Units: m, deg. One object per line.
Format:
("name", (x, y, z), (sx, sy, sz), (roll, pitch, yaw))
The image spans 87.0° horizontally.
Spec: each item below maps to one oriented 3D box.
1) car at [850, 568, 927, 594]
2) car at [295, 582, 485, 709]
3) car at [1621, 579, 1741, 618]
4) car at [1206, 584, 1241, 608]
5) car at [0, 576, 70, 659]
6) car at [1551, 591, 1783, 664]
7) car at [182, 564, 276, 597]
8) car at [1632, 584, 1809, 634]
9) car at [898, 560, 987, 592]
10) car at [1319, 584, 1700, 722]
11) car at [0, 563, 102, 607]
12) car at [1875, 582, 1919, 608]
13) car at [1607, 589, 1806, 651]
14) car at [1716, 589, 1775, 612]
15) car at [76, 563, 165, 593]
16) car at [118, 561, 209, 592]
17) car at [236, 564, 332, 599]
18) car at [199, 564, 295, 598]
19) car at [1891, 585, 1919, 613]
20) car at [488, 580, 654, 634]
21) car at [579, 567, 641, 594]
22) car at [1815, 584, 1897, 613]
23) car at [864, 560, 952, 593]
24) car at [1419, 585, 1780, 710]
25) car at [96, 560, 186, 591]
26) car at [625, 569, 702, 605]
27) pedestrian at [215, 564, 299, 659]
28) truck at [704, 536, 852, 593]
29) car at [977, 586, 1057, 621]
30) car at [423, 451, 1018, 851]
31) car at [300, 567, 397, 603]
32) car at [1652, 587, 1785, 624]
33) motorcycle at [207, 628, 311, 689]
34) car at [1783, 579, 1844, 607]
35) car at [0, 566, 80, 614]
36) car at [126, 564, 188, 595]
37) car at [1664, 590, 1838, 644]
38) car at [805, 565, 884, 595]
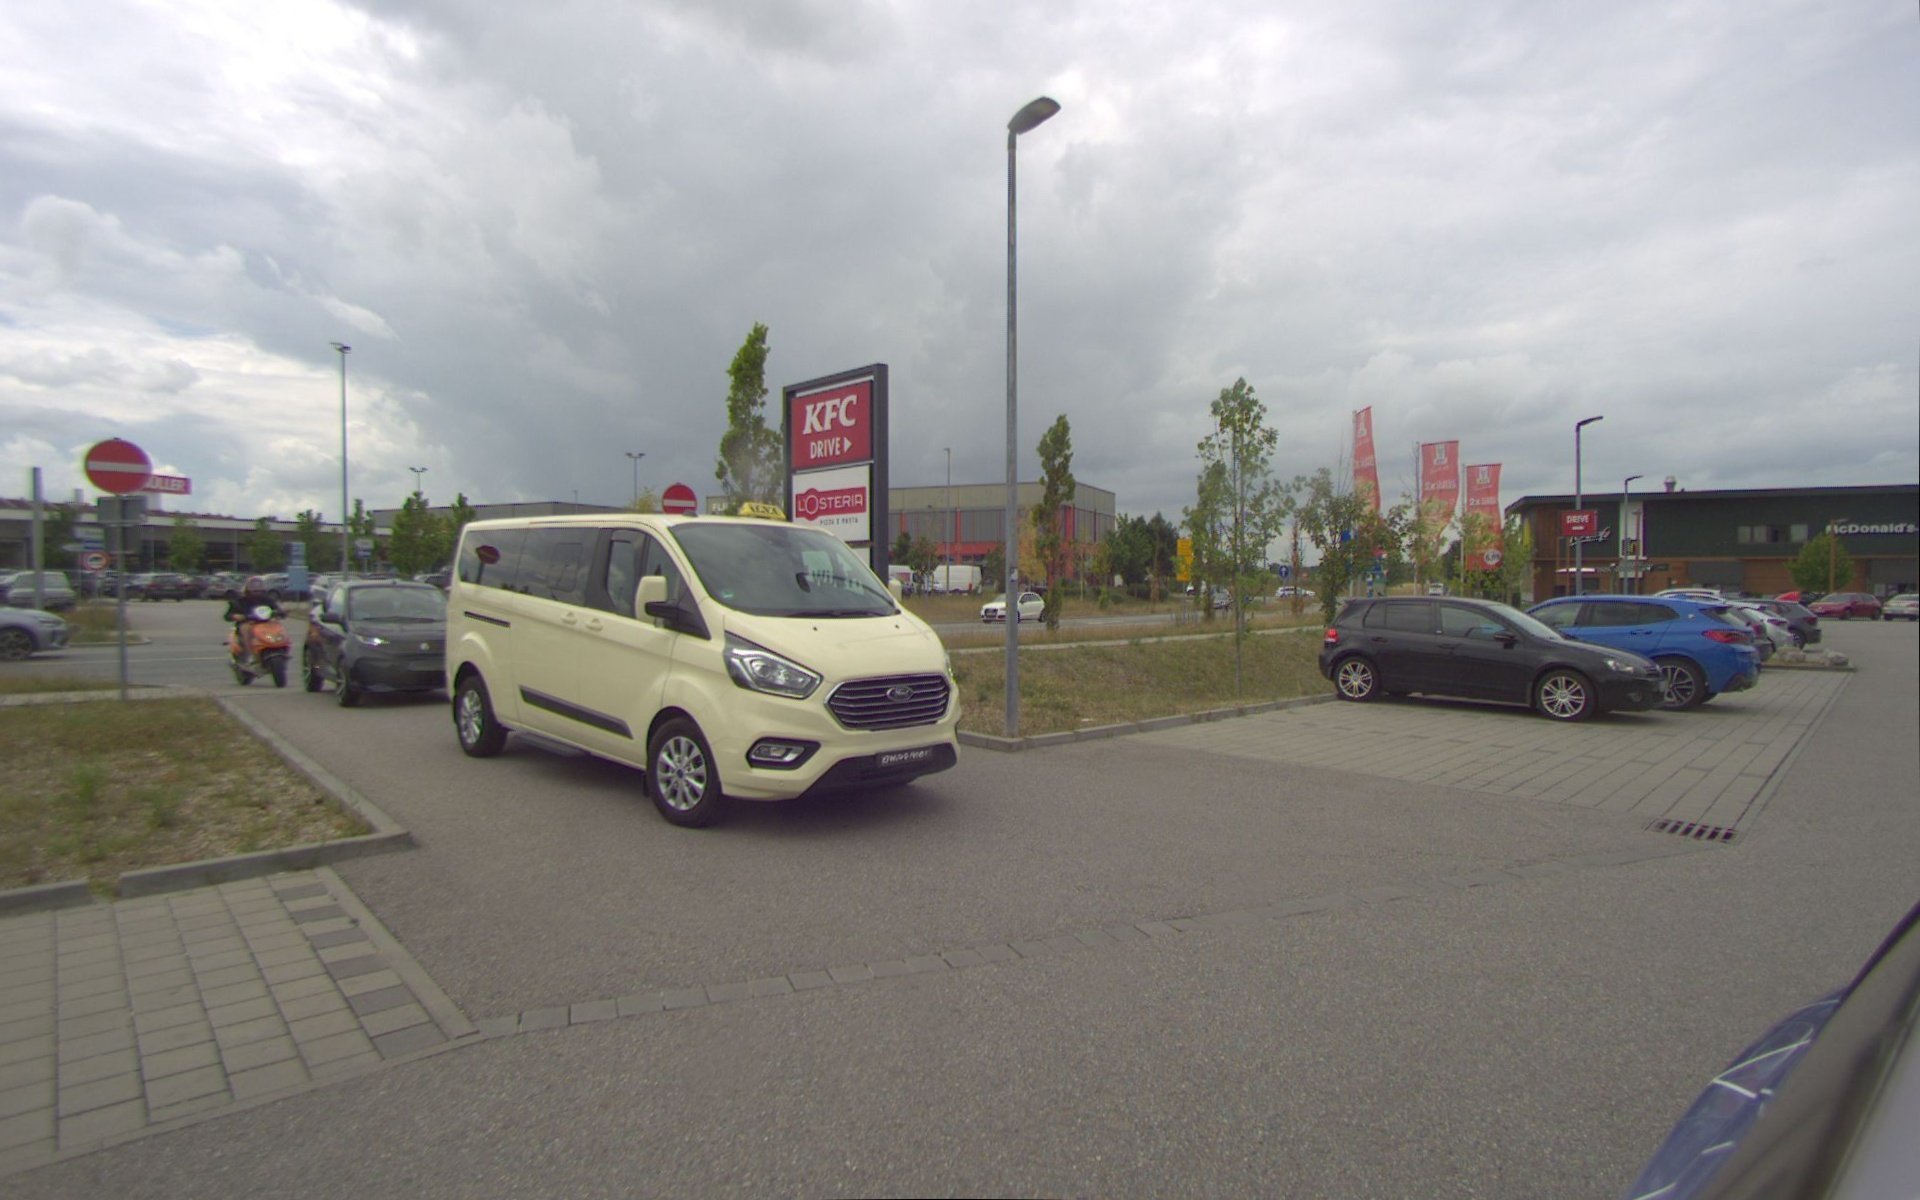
("car", (-4.992, -1.346, 70.348), (5.020, 1.659, 2.059), (2, 1, 27))
("car", (-7.134, 0.462, 12.545), (1.441, 1.353, 3.158), (0, 1, -41))
("car", (34.075, -0.044, 48.000), (4.332, 1.735, 1.973), (-1, 0, 29))
("car", (20.425, -0.329, 78.287), (1.979, 1.726, 3.967), (2, 3, 25))
("car", (-18.789, 0.309, 18.325), (3.935, 1.477, 1.826), (-1, 3, -44))
("car", (15.471, 0.563, 22.267), (3.986, 1.446, 1.701), (-1, 0, 43))
("car", (-43.800, -1.194, 60.699), (1.982, 1.860, 4.145), (2, 2, 29))
("car", (24.879, 0.308, 33.324), (4.516, 1.560, 1.901), (-1, 0, 35))
("car", (-1.344, -1.871, 77.458), (6.437, 2.295, 2.326), (2, 2, 25))
("car", (7.074, 0.566, 13.338), (1.746, 1.478, 4.066), (1, 1, -43))
("car", (-41.313, -0.696, 45.219), (1.982, 1.860, 4.145), (2, 2, 29))
("car", (67.763, -0.392, 72.641), (1.732, 1.775, 3.972), (2, 2, 22))
("car", (18.795, 0.495, 25.565), (3.921, 1.430, 1.813), (-2, 0, 41))
("car", (56.769, 0.018, 73.122), (3.824, 1.604, 1.754), (0, 2, -25))
("car", (-55.433, -1.450, 66.901), (1.982, 1.860, 4.145), (2, 2, 29))
("car", (-50.439, -1.471, 64.178), (1.982, 1.860, 4.145), (2, 2, 29))
("car", (-38.454, -1.066, 57.668), (1.982, 1.860, 4.145), (2, 2, 29))
("car", (-41.793, -1.131, 59.402), (1.982, 1.860, 4.145), (2, 2, 29))
("car", (49.991, -0.045, 52.008), (4.368, 1.430, 1.756), (0, 0, -27))
("car", (-11.627, 0.215, 30.473), (4.376, 1.510, 1.615), (1, 0, -44))
("car", (-24.575, -1.412, 71.219), (1.977, 1.793, 3.971), (2, 2, 22))
("car", (47.355, -0.062, 53.489), (3.916, 1.483, 1.690), (0, 0, -22))
("car", (-3.794, -1.716, 73.371), (6.000, 2.242, 2.394), (2, 1, 27))
("car", (9.233, 0.568, 14.849), (1.834, 1.564, 4.204), (0, 1, -44))
("car", (-53.025, -1.577, 65.611), (1.982, 1.860, 4.145), (2, 2, 29))
("car", (-15.898, -0.732, 54.197), (4.301, 1.793, 1.904), (3, 2, 39))
("pedestrian", (-9.935, 0.163, 14.301), (0.895, 1.298, 0.794), (-2, -1, 41))
("truck", (-11.033, -2.127, 61.480), (8.258, 3.235, 3.035), (0, 2, -26))
("car", (2.655, 0.163, 46.505), (1.745, 1.510, 4.075), (1, 0, 36))
("car", (-2.178, 0.218, 7.870), (5.213, 2.112, 1.969), (1, 1, 43))
("car", (-33.622, -0.812, 55.727), (1.982, 1.860, 4.145), (2, 2, 29))
("car", (30.825, 0.226, 41.299), (4.033, 1.430, 1.870), (-1, 0, 29))
("motorcycle", (-9.937, 0.796, 14.315), (2.019, 0.783, 0.804), (-1, -1, 43))
("car", (59.936, -0.476, 71.085), (3.919, 1.771, 2.003), (1, 1, -30))
("car", (-33.144, -0.382, 36.198), (3.742, 1.558, 1.749), (3, 2, 37))
("car", (-42.980, -1.111, 54.141), (4.145, 1.558, 1.970), (3, 2, 42))
("car", (22.395, 0.493, 28.823), (3.786, 1.430, 1.715), (-1, 0, 38))
("car", (-7.609, -1.300, 66.729), (5.031, 1.908, 2.054), (0, 0, 32))
